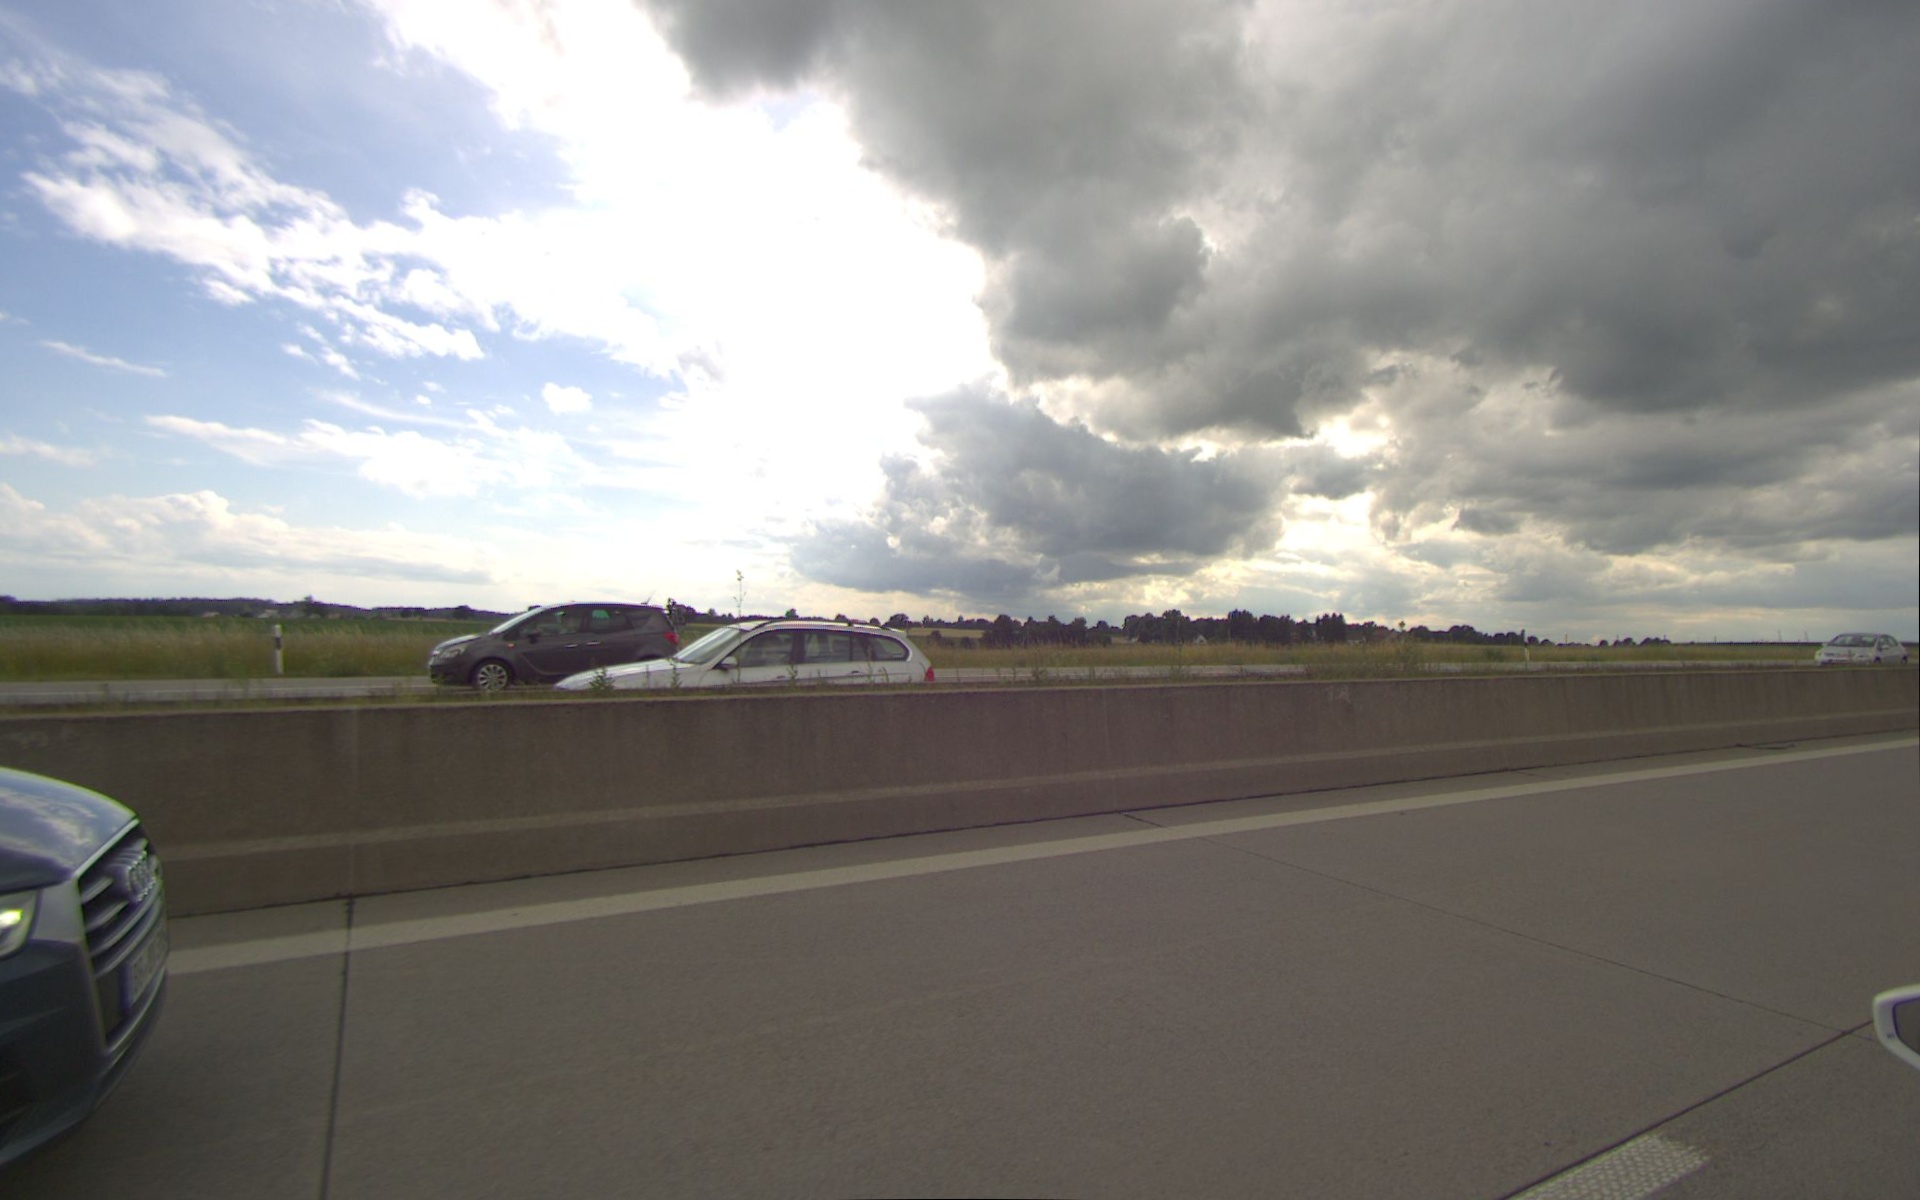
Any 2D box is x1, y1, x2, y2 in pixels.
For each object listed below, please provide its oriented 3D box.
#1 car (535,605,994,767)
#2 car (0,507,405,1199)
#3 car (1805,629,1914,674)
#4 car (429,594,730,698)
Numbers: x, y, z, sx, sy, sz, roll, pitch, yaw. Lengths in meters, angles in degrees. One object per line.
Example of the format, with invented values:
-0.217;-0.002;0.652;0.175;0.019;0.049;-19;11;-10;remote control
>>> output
-2.173;0.936;11.776;4.981;1.558;1.715;3;-1;-30;car
-3.830;0.584;1.580;5.099;1.617;1.783;2;0;-32;car
33.966;1.944;37.922;4.464;1.527;1.770;3;-1;-30;car
-6.815;0.783;18.175;4.886;1.662;1.740;1;0;-30;car
